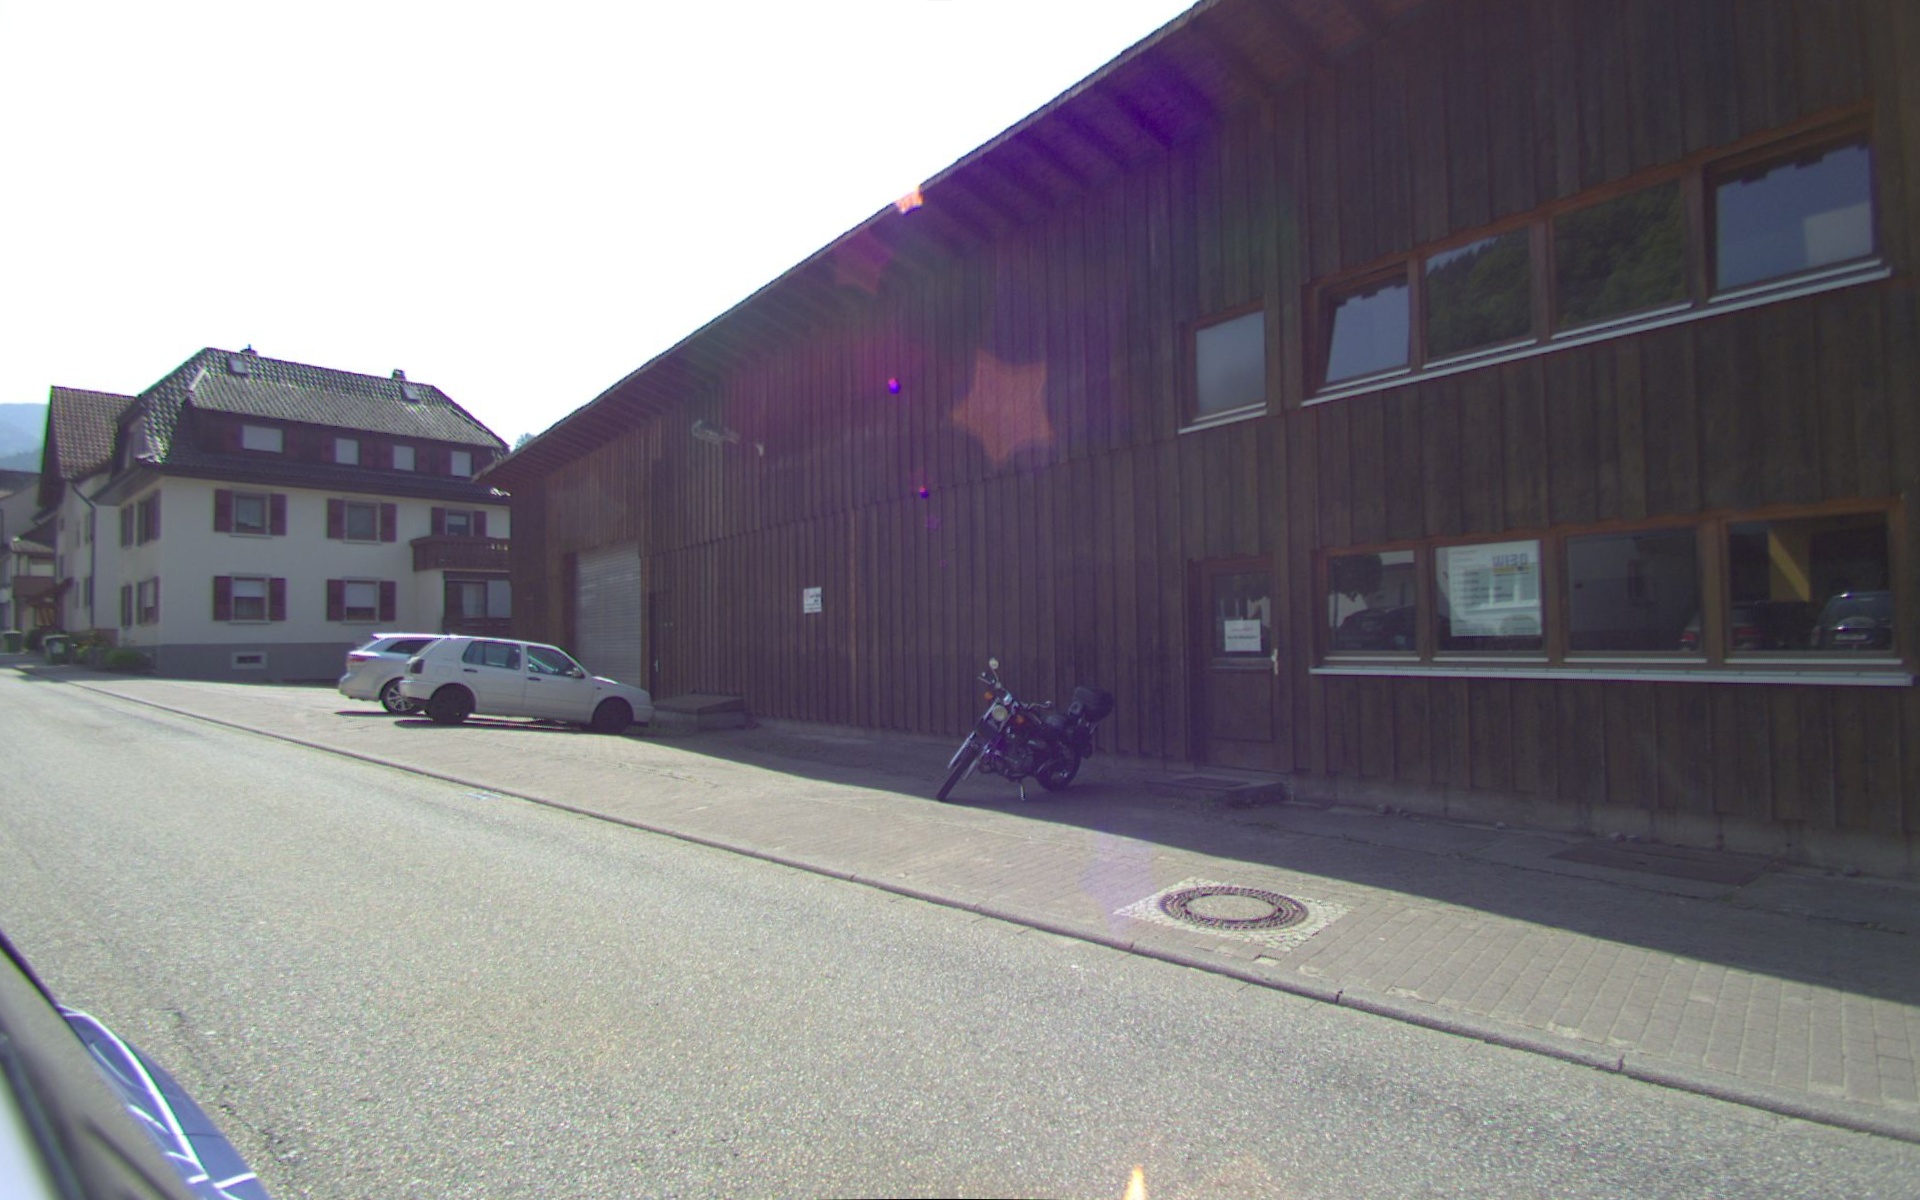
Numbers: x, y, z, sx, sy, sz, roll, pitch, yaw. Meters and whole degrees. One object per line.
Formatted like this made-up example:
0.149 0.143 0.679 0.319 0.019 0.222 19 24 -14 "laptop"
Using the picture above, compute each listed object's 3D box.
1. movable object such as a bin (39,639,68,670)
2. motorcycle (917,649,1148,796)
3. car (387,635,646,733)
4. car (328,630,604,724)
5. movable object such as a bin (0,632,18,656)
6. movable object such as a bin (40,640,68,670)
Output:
-32.655 1.952 36.465 0.621 1.075 0.669 -1 -2 40 "movable object such as a bin"
0.763 1.118 9.900 2.378 1.274 0.744 2 -3 -39 "motorcycle"
-7.306 1.398 16.780 3.609 1.396 1.715 6 -5 -33 "car"
-9.108 1.462 19.040 4.367 1.486 1.930 4 -5 -22 "car"
-47.549 2.203 50.483 0.598 1.190 0.710 -2 -4 42 "movable object such as a bin"
-33.323 2.002 37.208 0.653 1.075 0.669 -1 -2 40 "movable object such as a bin"
